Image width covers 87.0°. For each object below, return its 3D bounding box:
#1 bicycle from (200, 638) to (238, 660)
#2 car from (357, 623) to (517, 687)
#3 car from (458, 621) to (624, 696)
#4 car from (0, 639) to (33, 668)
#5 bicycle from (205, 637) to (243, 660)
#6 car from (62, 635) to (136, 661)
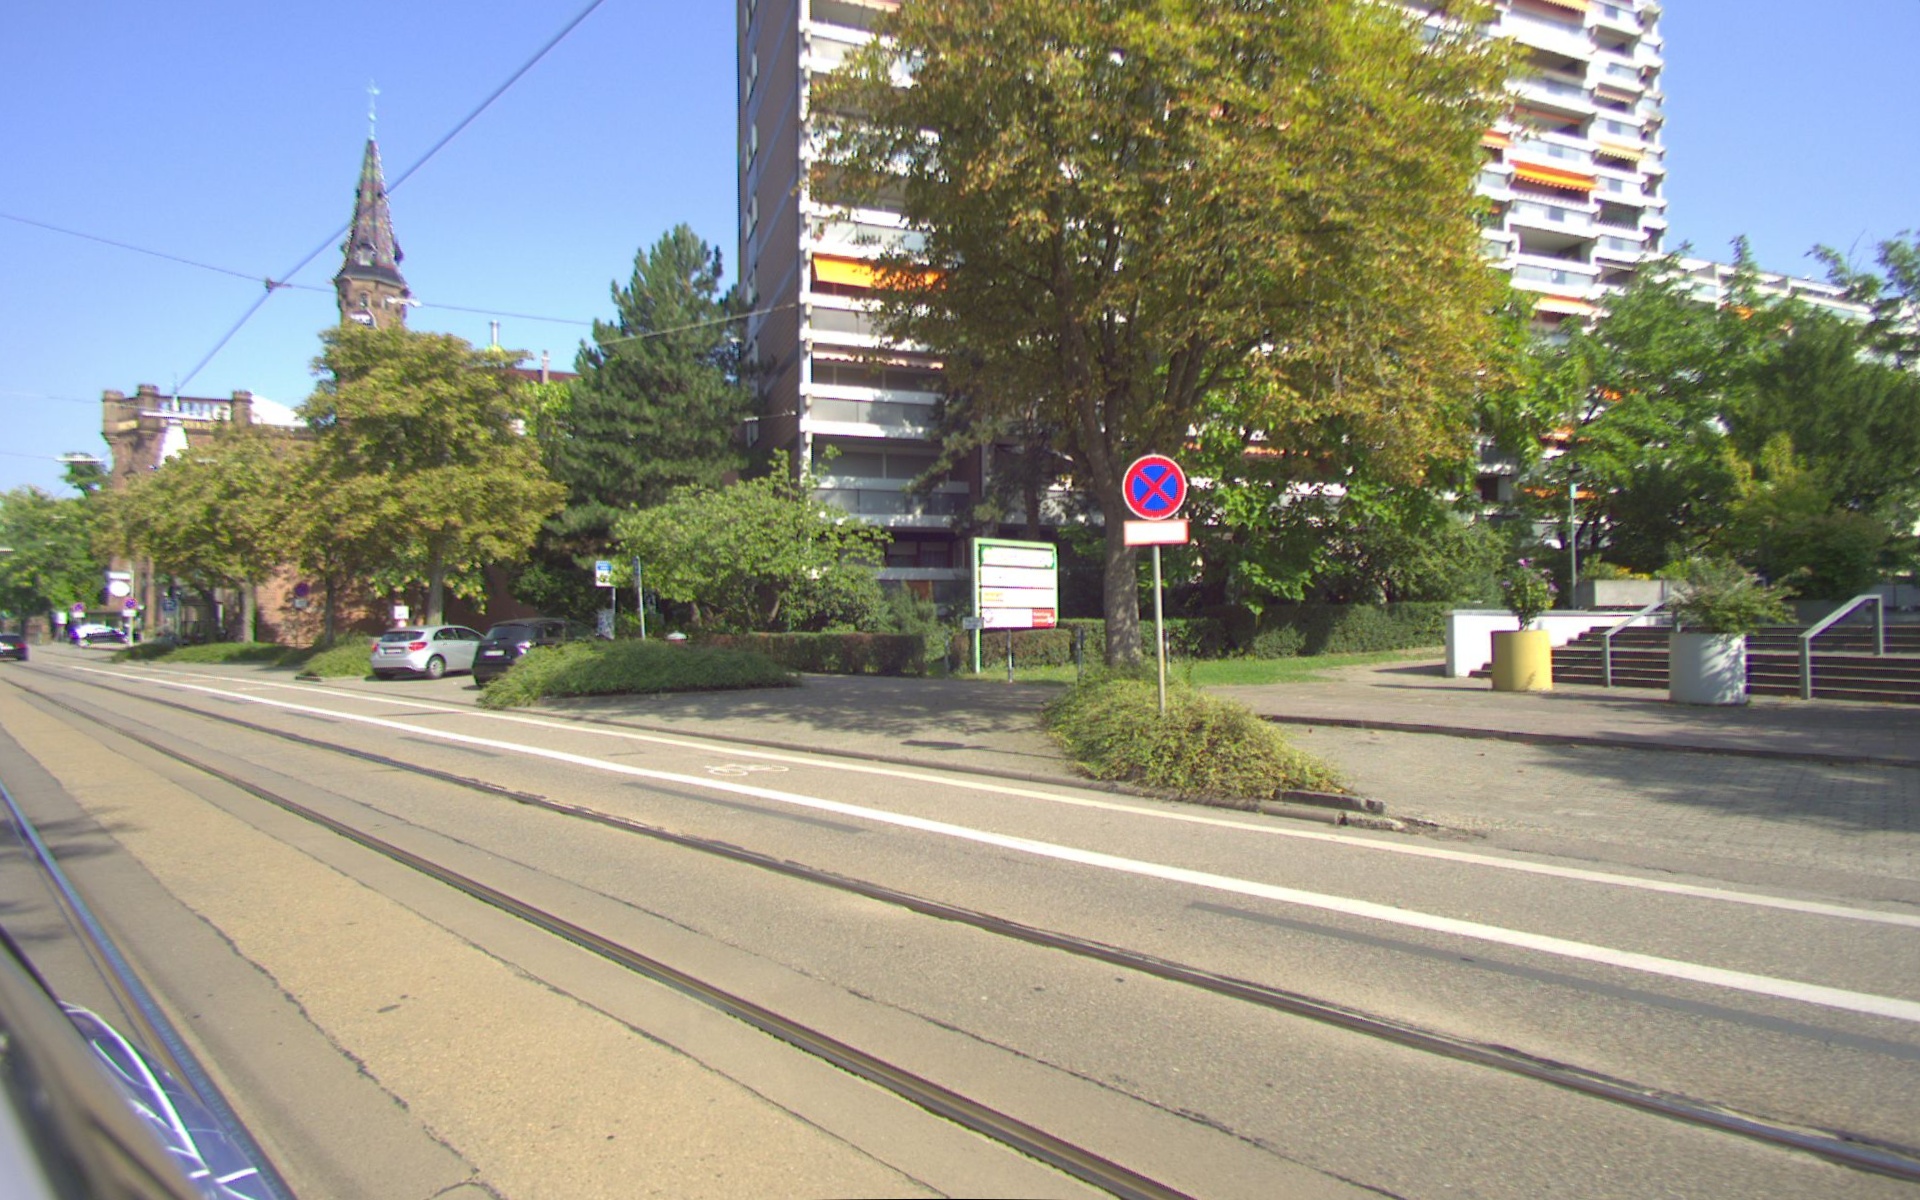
[{"bbox_3d":[-42.598,2.826,58.188,0.418,1.082,1.796,-2,2,21],"label":"bicycle"},{"bbox_3d":[-14.463,1.490,28.243,1.771,1.490,3.983,-2,0,13],"label":"car"},{"bbox_3d":[-9.658,1.316,23.622,1.608,1.527,3.624,-2,-1,18],"label":"car"},{"bbox_3d":[-49.044,2.736,51.895,4.512,1.386,1.808,-2,-2,43],"label":"car"},{"bbox_3d":[-42.171,2.772,58.014,0.418,1.082,1.796,-2,2,21],"label":"bicycle"},{"bbox_3d":[-70.477,3.905,82.865,1.957,1.658,4.349,-3,2,44],"label":"car"}]
